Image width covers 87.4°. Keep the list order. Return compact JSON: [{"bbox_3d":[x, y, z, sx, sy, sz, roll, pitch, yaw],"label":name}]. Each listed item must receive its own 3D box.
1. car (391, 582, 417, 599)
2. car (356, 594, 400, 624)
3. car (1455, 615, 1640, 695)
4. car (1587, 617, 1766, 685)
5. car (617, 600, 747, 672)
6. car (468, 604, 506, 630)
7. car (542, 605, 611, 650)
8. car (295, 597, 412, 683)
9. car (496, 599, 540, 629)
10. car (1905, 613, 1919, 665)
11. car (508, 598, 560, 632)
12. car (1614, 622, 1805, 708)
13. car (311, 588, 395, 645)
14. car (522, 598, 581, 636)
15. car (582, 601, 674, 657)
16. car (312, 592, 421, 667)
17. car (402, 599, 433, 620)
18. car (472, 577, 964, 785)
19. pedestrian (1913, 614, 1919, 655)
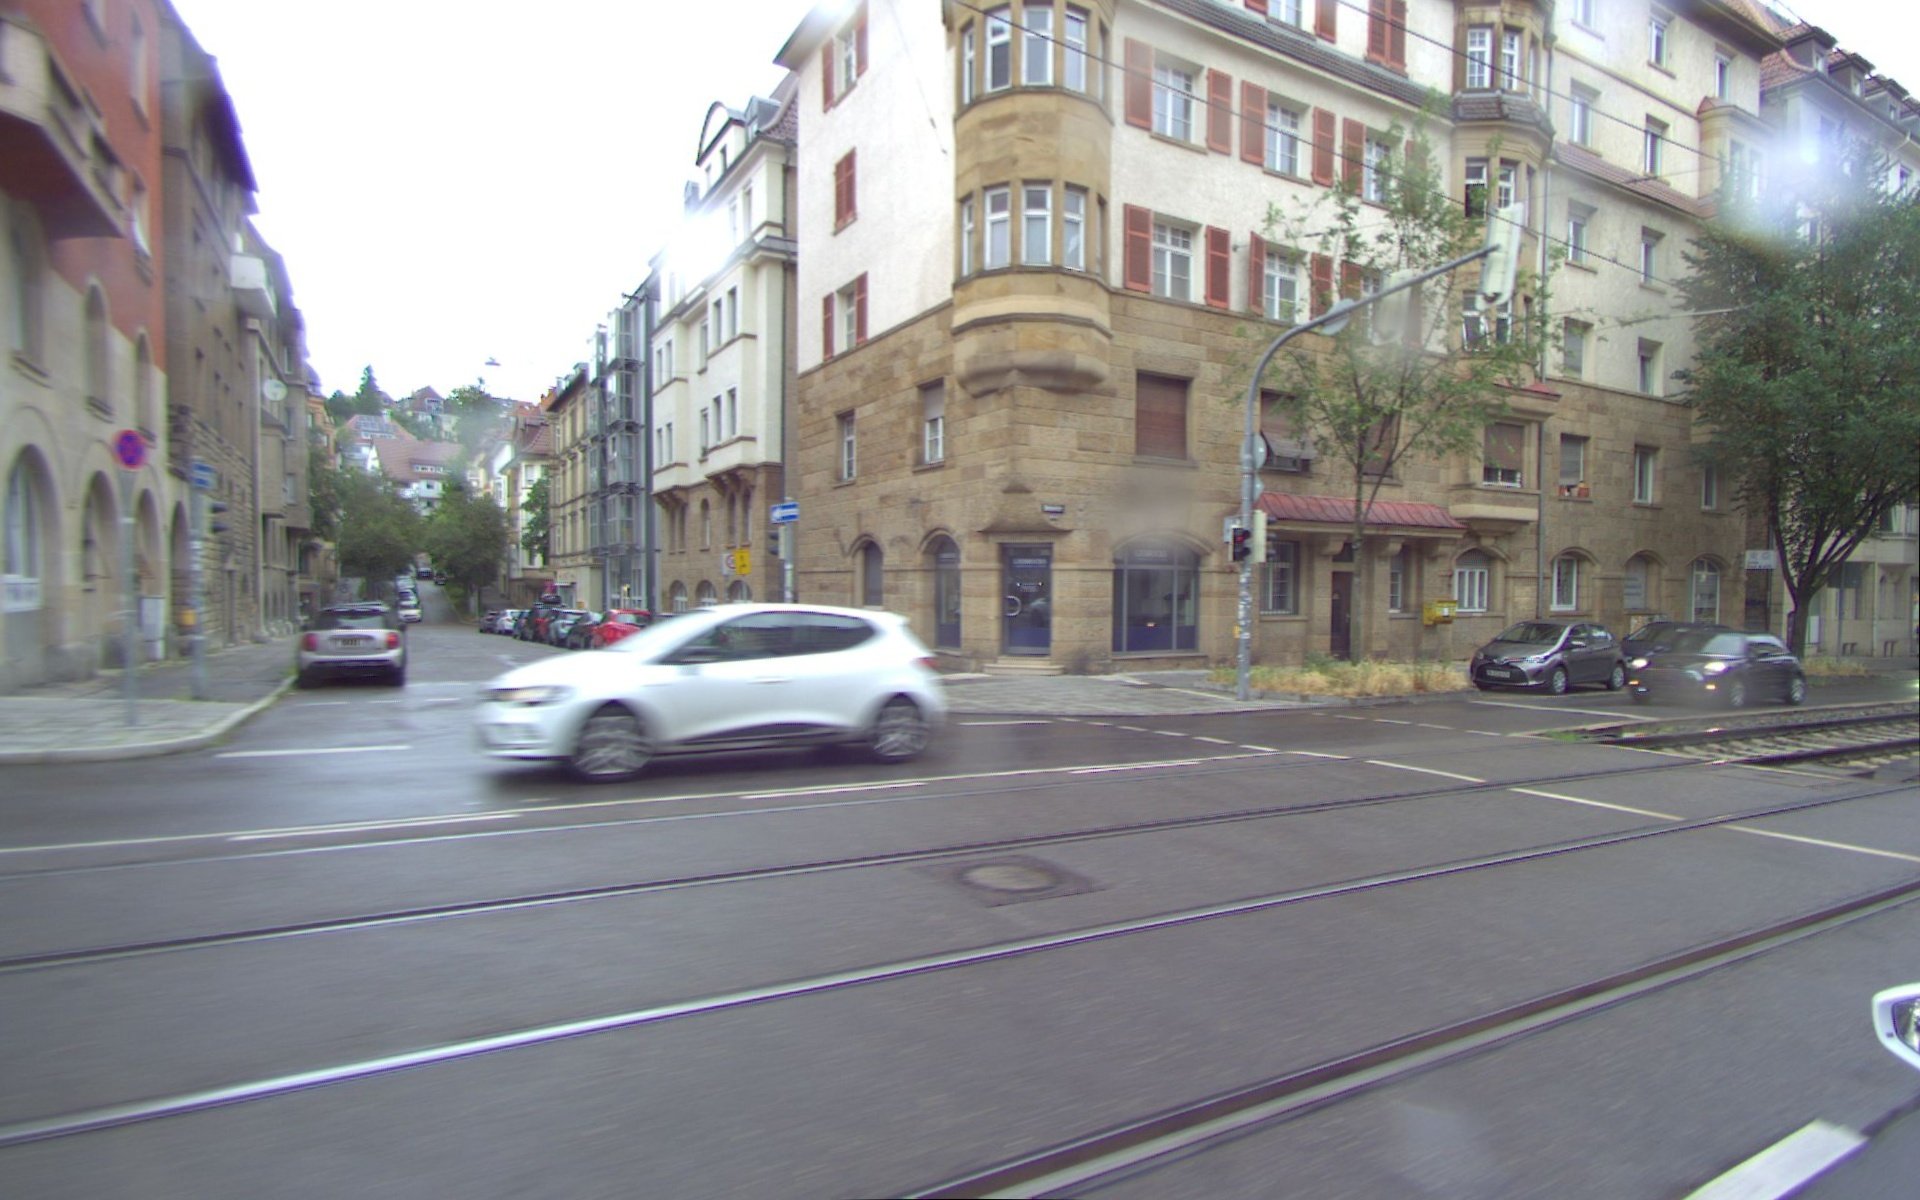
[{"bbox_3d":[-53.221,-0.901,96.073,1.978,1.595,3.966,2,-1,-31],"label":"car"},{"bbox_3d":[-32.151,0.487,55.602,1.976,1.595,3.969,2,-1,-29],"label":"car"},{"bbox_3d":[12.623,1.158,21.523,4.130,1.549,1.680,2,-1,-32],"label":"car"},{"bbox_3d":[17.366,1.233,24.288,4.923,1.479,1.771,2,-1,-32],"label":"car"},{"bbox_3d":[-6.944,0.849,24.803,1.979,1.595,3.964,2,-1,-33],"label":"car"},{"bbox_3d":[-30.853,1.112,65.485,1.976,1.595,3.969,2,-1,-29],"label":"car"},{"bbox_3d":[-15.028,1.051,39.245,1.976,1.595,3.969,2,-1,-29],"label":"car"},{"bbox_3d":[-11.652,0.712,19.480,1.726,1.486,3.969,2,-1,-29],"label":"car"},{"bbox_3d":[-25.691,0.802,58.296,1.976,1.595,3.969,2,-1,-29],"label":"car"},{"bbox_3d":[35.097,1.410,34.999,4.725,1.765,1.942,1,3,-32],"label":"car"},{"bbox_3d":[-21.337,0.741,50.212,1.976,1.595,3.969,2,-1,-29],"label":"car"},{"bbox_3d":[14.343,1.196,19.189,3.691,1.482,1.645,1,-1,-30],"label":"car"},{"bbox_3d":[-18.373,0.490,30.558,1.976,1.595,3.969,2,-1,-29],"label":"car"},{"bbox_3d":[-18.664,0.754,45.829,1.976,1.595,3.969,2,-1,-29],"label":"car"},{"bbox_3d":[-10.426,0.870,31.362,1.976,1.595,3.969,2,-1,-29],"label":"car"},{"bbox_3d":[-13.874,0.647,23.391,1.979,1.595,3.963,2,-1,-33],"label":"car"},{"bbox_3d":[-43.529,0.779,80.538,1.978,1.595,3.966,2,-1,-31],"label":"car"},{"bbox_3d":[-2.136,0.664,9.187,4.017,1.522,1.771,2,-1,-32],"label":"car"},{"bbox_3d":[40.107,1.457,41.603,0.762,1.685,0.724,1,1,-31],"label":"pedestrian"}]
